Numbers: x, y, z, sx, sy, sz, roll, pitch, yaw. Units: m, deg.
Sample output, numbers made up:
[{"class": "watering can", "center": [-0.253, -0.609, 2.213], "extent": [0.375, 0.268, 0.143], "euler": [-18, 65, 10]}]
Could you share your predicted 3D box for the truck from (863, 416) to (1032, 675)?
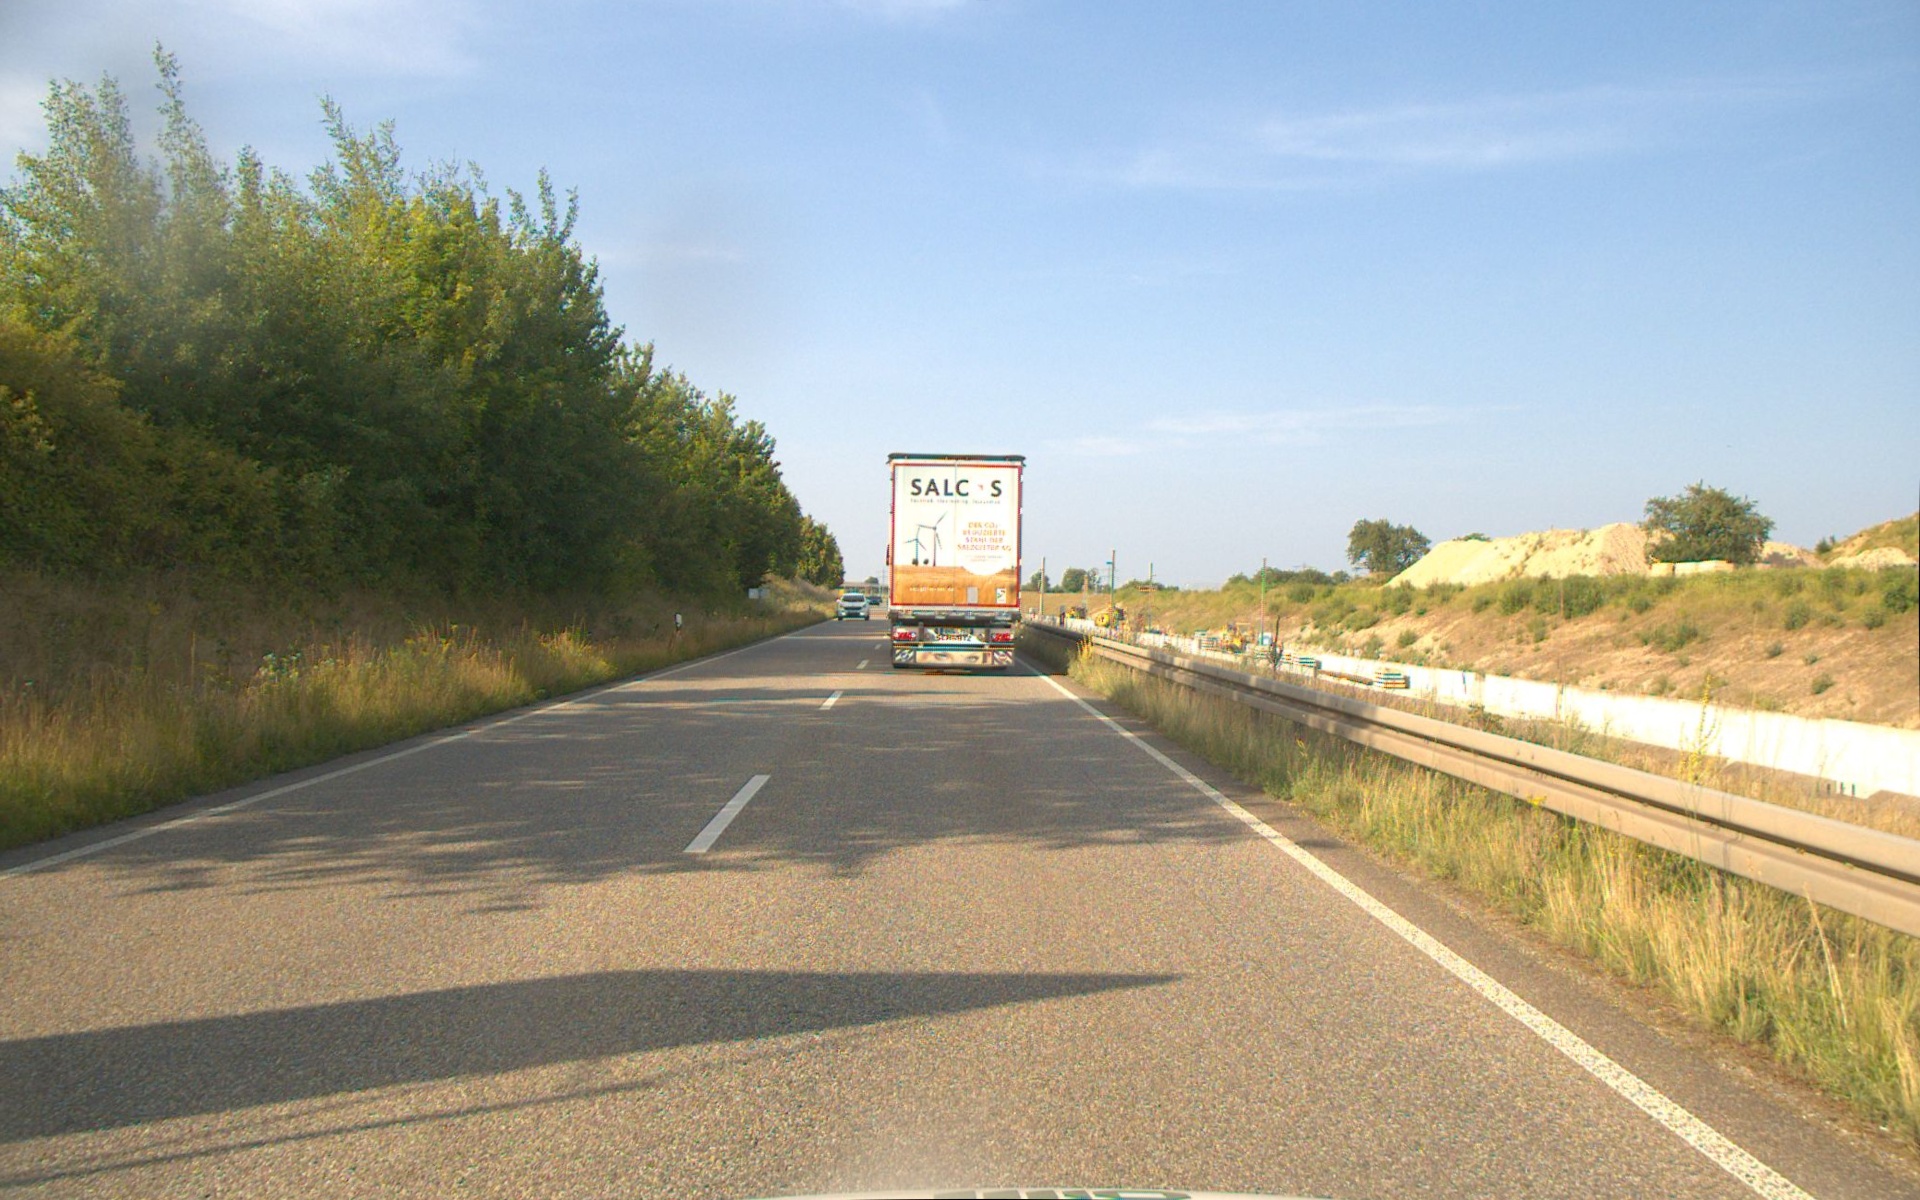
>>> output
[{"class": "truck", "center": [-0.370, -1.009, 34.844], "extent": [3.089, 4.770, 8.438], "euler": [0, 0, -2]}]

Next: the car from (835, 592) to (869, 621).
[{"class": "car", "center": [-6.268, 0.360, 96.669], "extent": [1.709, 1.591, 4.365], "euler": [1, 0, -1]}]

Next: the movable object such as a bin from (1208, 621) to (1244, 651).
[{"class": "movable object such as a bin", "center": [24.744, 3.304, 153.795], "extent": [2.845, 2.708, 2.019], "euler": [1, 0, 23]}]
